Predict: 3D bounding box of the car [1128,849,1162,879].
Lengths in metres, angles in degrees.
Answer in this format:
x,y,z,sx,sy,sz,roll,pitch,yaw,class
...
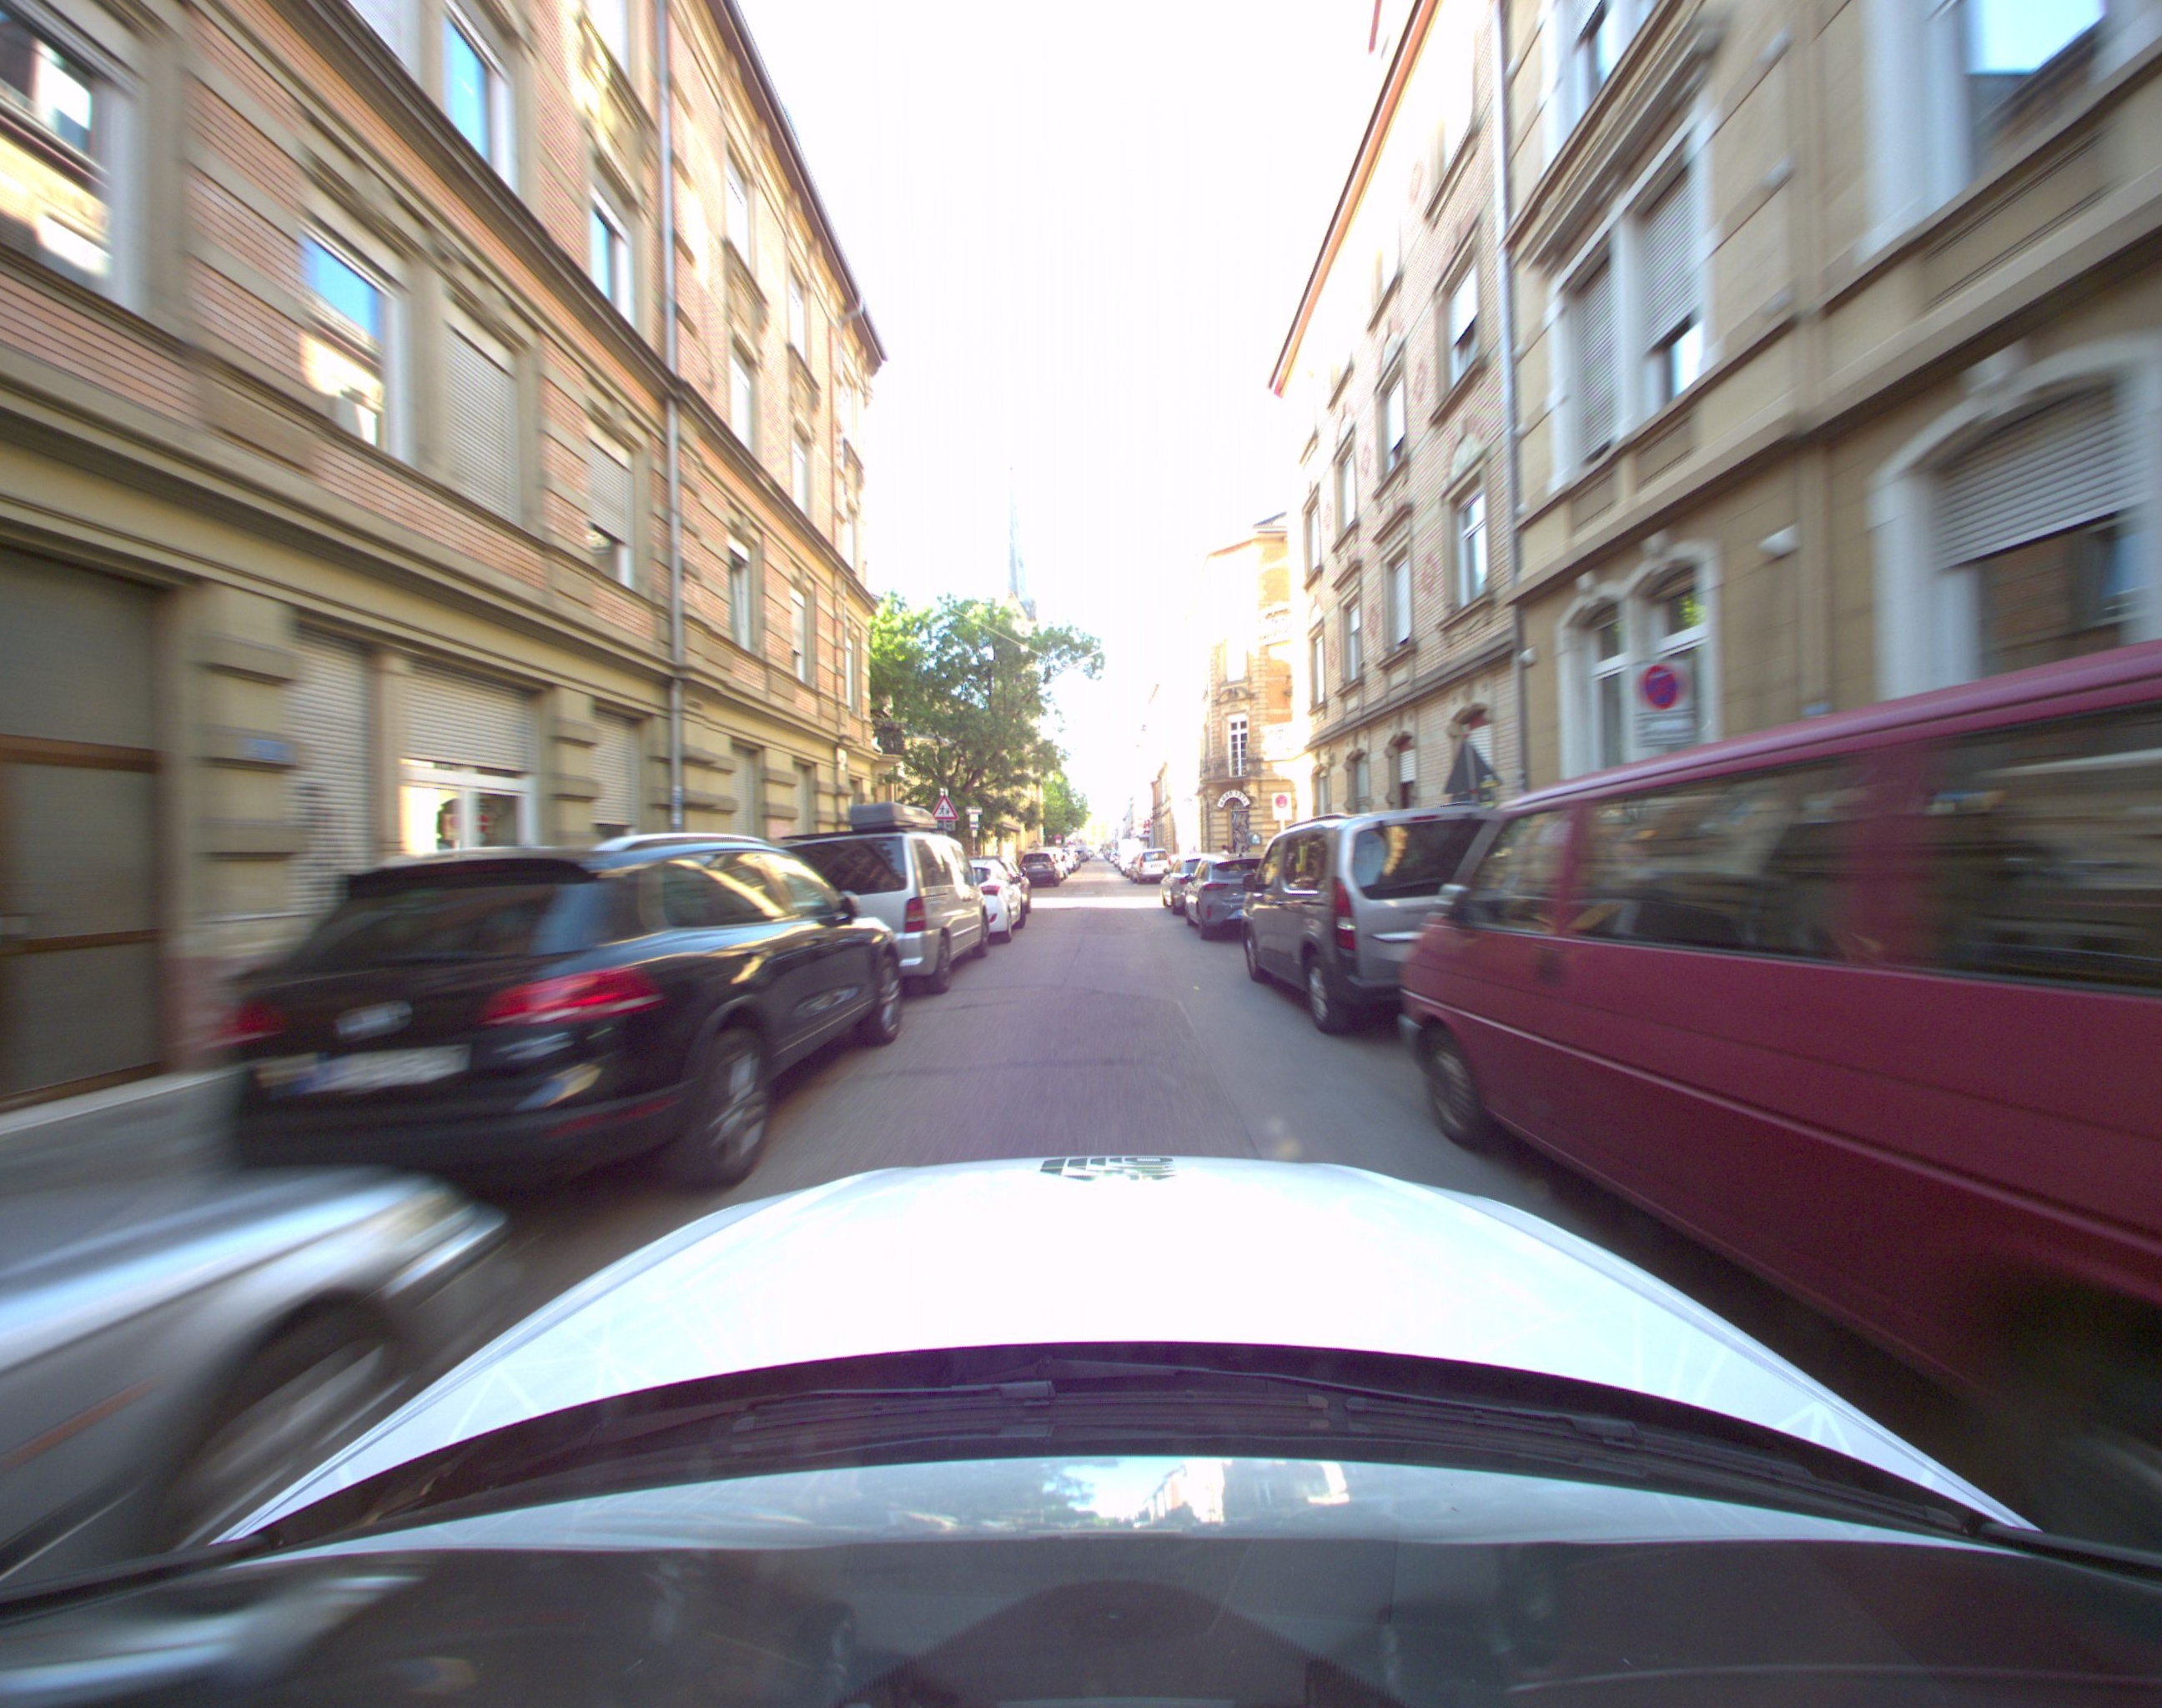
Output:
x,y,z,sx,sy,sz,roll,pitch,yaw,class
3.474,0.506,44.816,1.530,1.513,3.680,-2,0,-1,car

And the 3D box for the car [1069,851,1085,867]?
x,y,z,sx,sy,sz,roll,pitch,yaw,class
-0.389,0.526,86.659,1.594,1.614,3.808,-4,0,1,car

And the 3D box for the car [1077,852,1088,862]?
x,y,z,sx,sy,sz,roll,pitch,yaw,class
0.219,0.554,147.831,1.871,1.796,3.996,-1,0,-2,car

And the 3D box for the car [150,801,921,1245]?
x,y,z,sx,sy,sz,roll,pitch,yaw,class
-2.470,0.612,5.307,1.781,1.624,4.610,0,0,2,car

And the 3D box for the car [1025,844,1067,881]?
x,y,z,sx,sy,sz,roll,pitch,yaw,class
-1.832,0.414,44.040,1.838,1.862,4.468,-2,0,2,car

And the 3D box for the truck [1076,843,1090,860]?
x,y,z,sx,sy,sz,roll,pitch,yaw,class
0.451,-0.516,164.330,2.523,3.281,6.997,-1,0,2,truck

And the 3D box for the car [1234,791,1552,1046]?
x,y,z,sx,sy,sz,roll,pitch,yaw,class
2.809,0.487,8.416,1.763,1.961,4.265,0,0,1,car

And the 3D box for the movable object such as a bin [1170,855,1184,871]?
x,y,z,sx,sy,sz,roll,pitch,yaw,class
6.371,0.594,54.038,0.551,1.052,0.597,-4,0,-32,movable object such as a bin

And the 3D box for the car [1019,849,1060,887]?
x,y,z,sx,sy,sz,roll,pitch,yaw,class
-1.930,0.605,38.519,1.735,1.646,4.287,-2,0,-1,car

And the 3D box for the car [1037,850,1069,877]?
x,y,z,sx,sy,sz,roll,pitch,yaw,class
-1.651,0.573,49.530,1.681,1.476,3.861,-3,0,1,car

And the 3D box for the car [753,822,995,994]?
x,y,z,sx,sy,sz,roll,pitch,yaw,class
-2.408,0.553,10.796,1.885,1.784,4.610,0,0,2,car

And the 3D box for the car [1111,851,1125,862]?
x,y,z,sx,sy,sz,roll,pitch,yaw,class
5.175,0.361,113.941,1.890,1.488,3.871,-1,0,2,car

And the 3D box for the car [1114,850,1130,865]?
x,y,z,sx,sy,sz,roll,pitch,yaw,class
4.264,0.352,85.417,1.597,1.505,4.003,0,0,2,car

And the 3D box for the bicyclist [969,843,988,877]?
x,y,z,sx,sy,sz,roll,pitch,yaw,class
-5.306,0.307,42.079,0.800,1.723,0.694,1,1,9,bicyclist

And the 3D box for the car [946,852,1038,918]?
x,y,z,sx,sy,sz,roll,pitch,yaw,class
-2.102,0.691,20.211,1.716,1.481,4.091,0,0,1,car

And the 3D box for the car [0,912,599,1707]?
x,y,z,sx,sy,sz,roll,pitch,yaw,class
-2.527,0.874,0.717,1.692,1.314,4.001,2,0,1,car

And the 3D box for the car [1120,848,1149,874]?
x,y,z,sx,sy,sz,roll,pitch,yaw,class
3.560,0.455,54.913,1.801,1.690,4.216,0,0,2,car

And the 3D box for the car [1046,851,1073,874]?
x,y,z,sx,sy,sz,roll,pitch,yaw,class
-1.560,0.610,60.101,1.736,1.586,3.870,-1,0,1,car

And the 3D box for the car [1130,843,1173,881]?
x,y,z,sx,sy,sz,roll,pitch,yaw,class
3.427,0.388,40.153,1.698,1.714,3.937,-2,0,-1,car

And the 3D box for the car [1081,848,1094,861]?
x,y,z,sx,sy,sz,roll,pitch,yaw,class
1.021,0.073,125.801,1.868,1.796,4.001,-1,0,1,car

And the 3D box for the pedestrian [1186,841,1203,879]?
x,y,z,sx,sy,sz,roll,pitch,yaw,class
5.344,0.261,38.307,0.573,1.732,0.662,-3,0,-6,pedestrian

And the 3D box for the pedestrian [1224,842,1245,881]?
x,y,z,sx,sy,sz,roll,pitch,yaw,class
6.541,0.325,34.699,0.575,1.621,0.731,-3,0,-14,pedestrian

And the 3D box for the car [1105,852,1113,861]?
x,y,z,sx,sy,sz,roll,pitch,yaw,class
6.511,0.469,190.339,1.986,2.013,4.001,-1,0,1,car

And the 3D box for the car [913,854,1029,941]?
x,y,z,sx,sy,sz,roll,pitch,yaw,class
-1.941,0.719,15.374,1.669,1.420,3.874,0,0,0,car

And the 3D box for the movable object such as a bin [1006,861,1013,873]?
x,y,z,sx,sy,sz,roll,pitch,yaw,class
-5.008,0.923,56.945,0.451,0.807,0.590,-1,0,1,movable object such as a bin

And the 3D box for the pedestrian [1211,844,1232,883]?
x,y,z,sx,sy,sz,roll,pitch,yaw,class
5.945,0.377,34.499,0.591,1.604,0.724,-3,0,-14,pedestrian

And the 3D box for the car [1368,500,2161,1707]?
x,y,z,sx,sy,sz,roll,pitch,yaw,class
2.727,0.422,2.943,1.825,2.013,4.743,0,0,1,car

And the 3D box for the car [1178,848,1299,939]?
x,y,z,sx,sy,sz,roll,pitch,yaw,class
2.880,0.654,15.652,1.660,1.479,3.889,-1,1,2,car

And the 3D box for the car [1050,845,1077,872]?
x,y,z,sx,sy,sz,roll,pitch,yaw,class
-1.378,0.355,65.744,1.858,1.957,4.610,-3,0,1,car

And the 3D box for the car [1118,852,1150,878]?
x,y,z,sx,sy,sz,roll,pitch,yaw,class
3.252,0.665,50.519,1.568,1.525,3.904,1,0,-3,car

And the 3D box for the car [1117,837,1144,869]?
x,y,z,sx,sy,sz,roll,pitch,yaw,class
4.171,-0.110,69.564,2.060,2.611,5.890,-1,0,1,car

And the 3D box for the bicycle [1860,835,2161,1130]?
x,y,z,sx,sy,sz,roll,pitch,yaw,class
5.275,0.581,4.261,0.724,1.304,1.693,-4,0,2,bicycle

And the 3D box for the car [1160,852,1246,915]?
x,y,z,sx,sy,sz,roll,pitch,yaw,class
3.044,0.674,21.140,1.700,1.459,4.513,0,0,1,car
